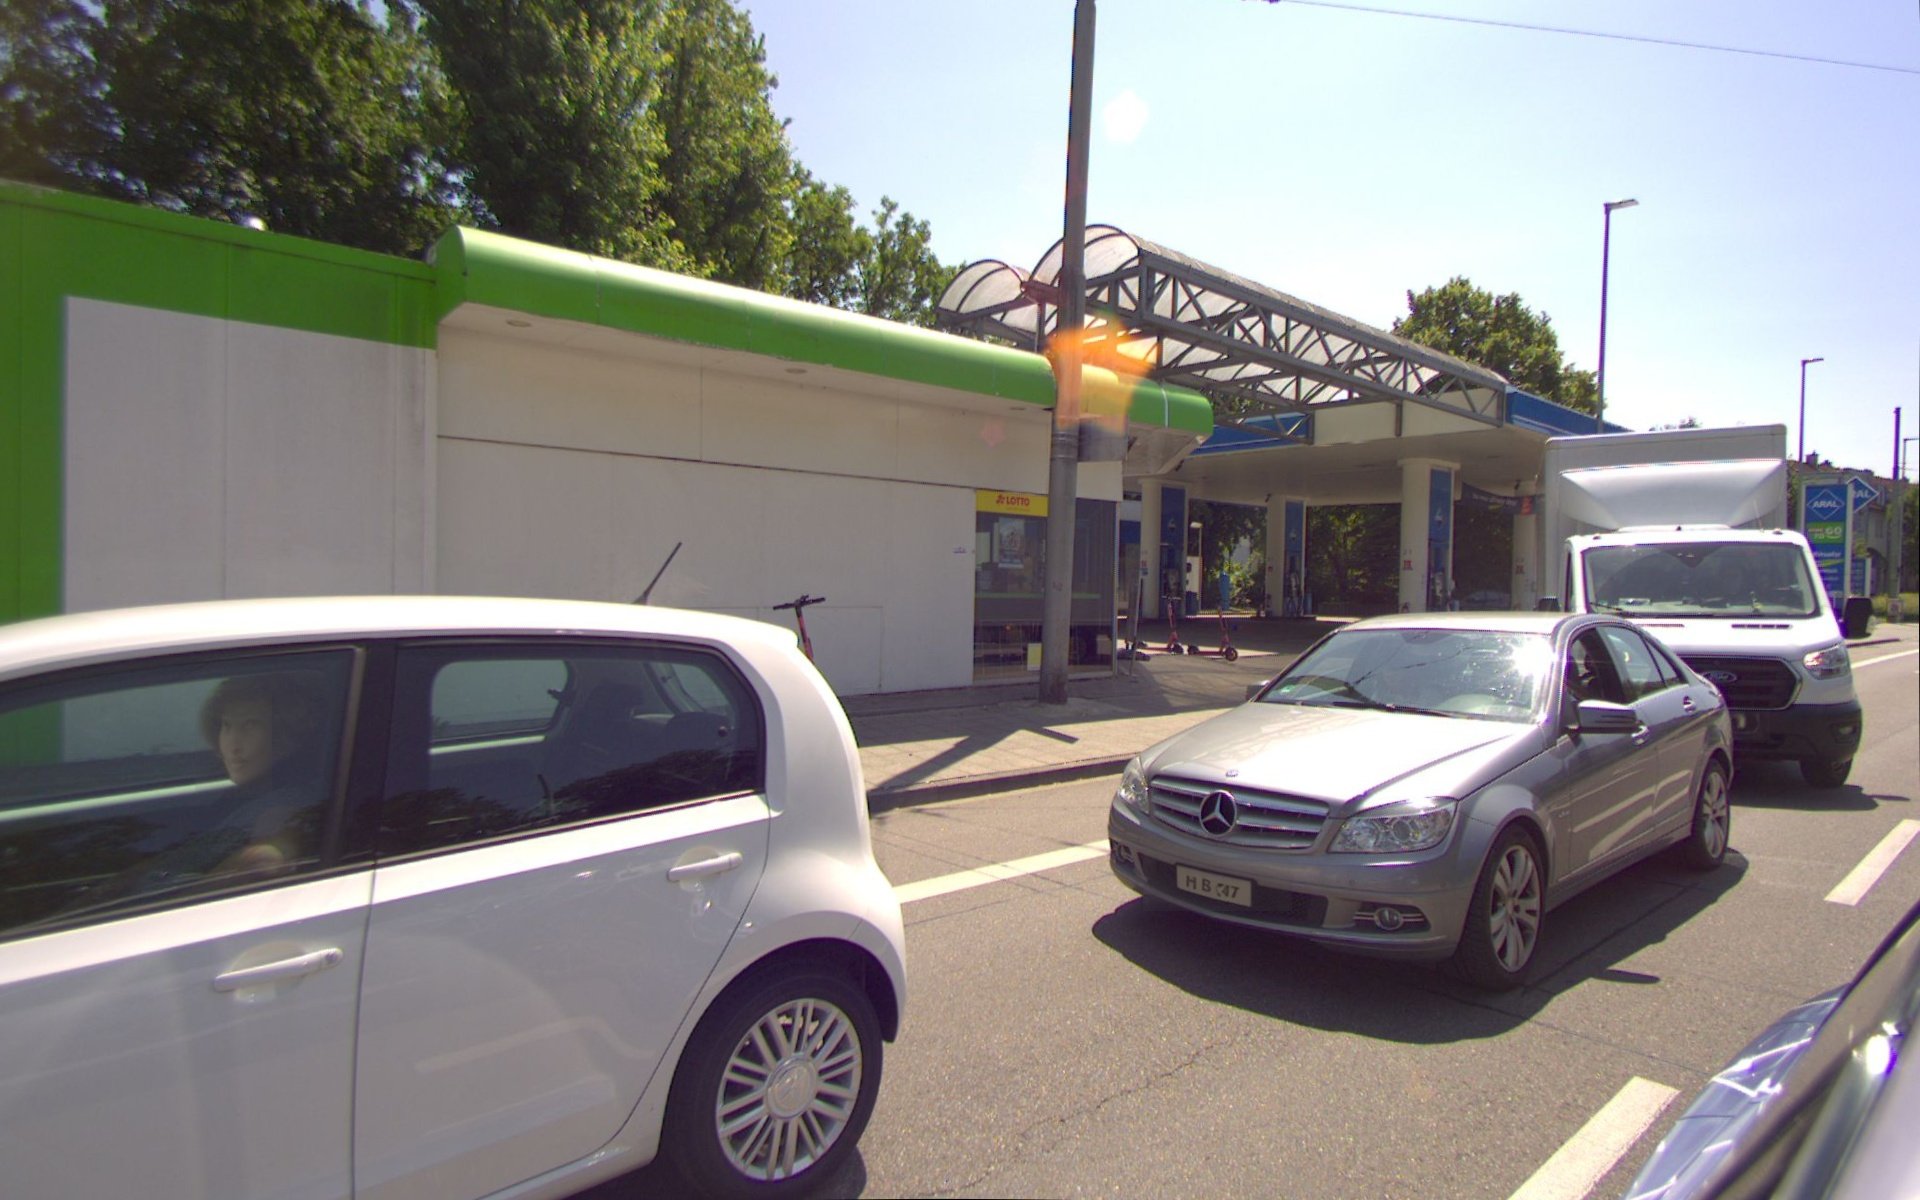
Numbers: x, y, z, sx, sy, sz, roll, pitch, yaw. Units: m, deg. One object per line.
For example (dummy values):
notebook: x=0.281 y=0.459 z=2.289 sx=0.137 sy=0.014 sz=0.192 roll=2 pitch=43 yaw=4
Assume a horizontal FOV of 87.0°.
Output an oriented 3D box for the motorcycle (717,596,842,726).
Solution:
motorcycle: x=-1.648 y=0.537 z=9.330 sx=1.098 sy=1.118 sz=0.253 roll=-1 pitch=7 yaw=-40

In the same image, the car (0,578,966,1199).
car: x=-1.786 y=0.697 z=2.286 sx=3.374 sy=1.466 sz=1.612 roll=1 pitch=0 yaw=-40

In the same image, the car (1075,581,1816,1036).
car: x=3.071 y=0.701 z=5.655 sx=5.206 sy=1.492 sz=1.716 roll=0 pitch=-1 yaw=-40

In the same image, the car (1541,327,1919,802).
car: x=7.942 y=-0.273 z=11.477 sx=2.211 sy=3.378 sz=8.546 roll=-1 pitch=0 yaw=29

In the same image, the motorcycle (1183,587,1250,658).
motorcycle: x=4.797 y=0.411 z=19.002 sx=0.357 sy=1.225 sz=1.156 roll=2 pitch=2 yaw=-41

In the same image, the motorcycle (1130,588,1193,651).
motorcycle: x=3.958 y=0.371 z=19.922 sx=0.389 sy=1.127 sz=1.156 roll=2 pitch=2 yaw=-41
